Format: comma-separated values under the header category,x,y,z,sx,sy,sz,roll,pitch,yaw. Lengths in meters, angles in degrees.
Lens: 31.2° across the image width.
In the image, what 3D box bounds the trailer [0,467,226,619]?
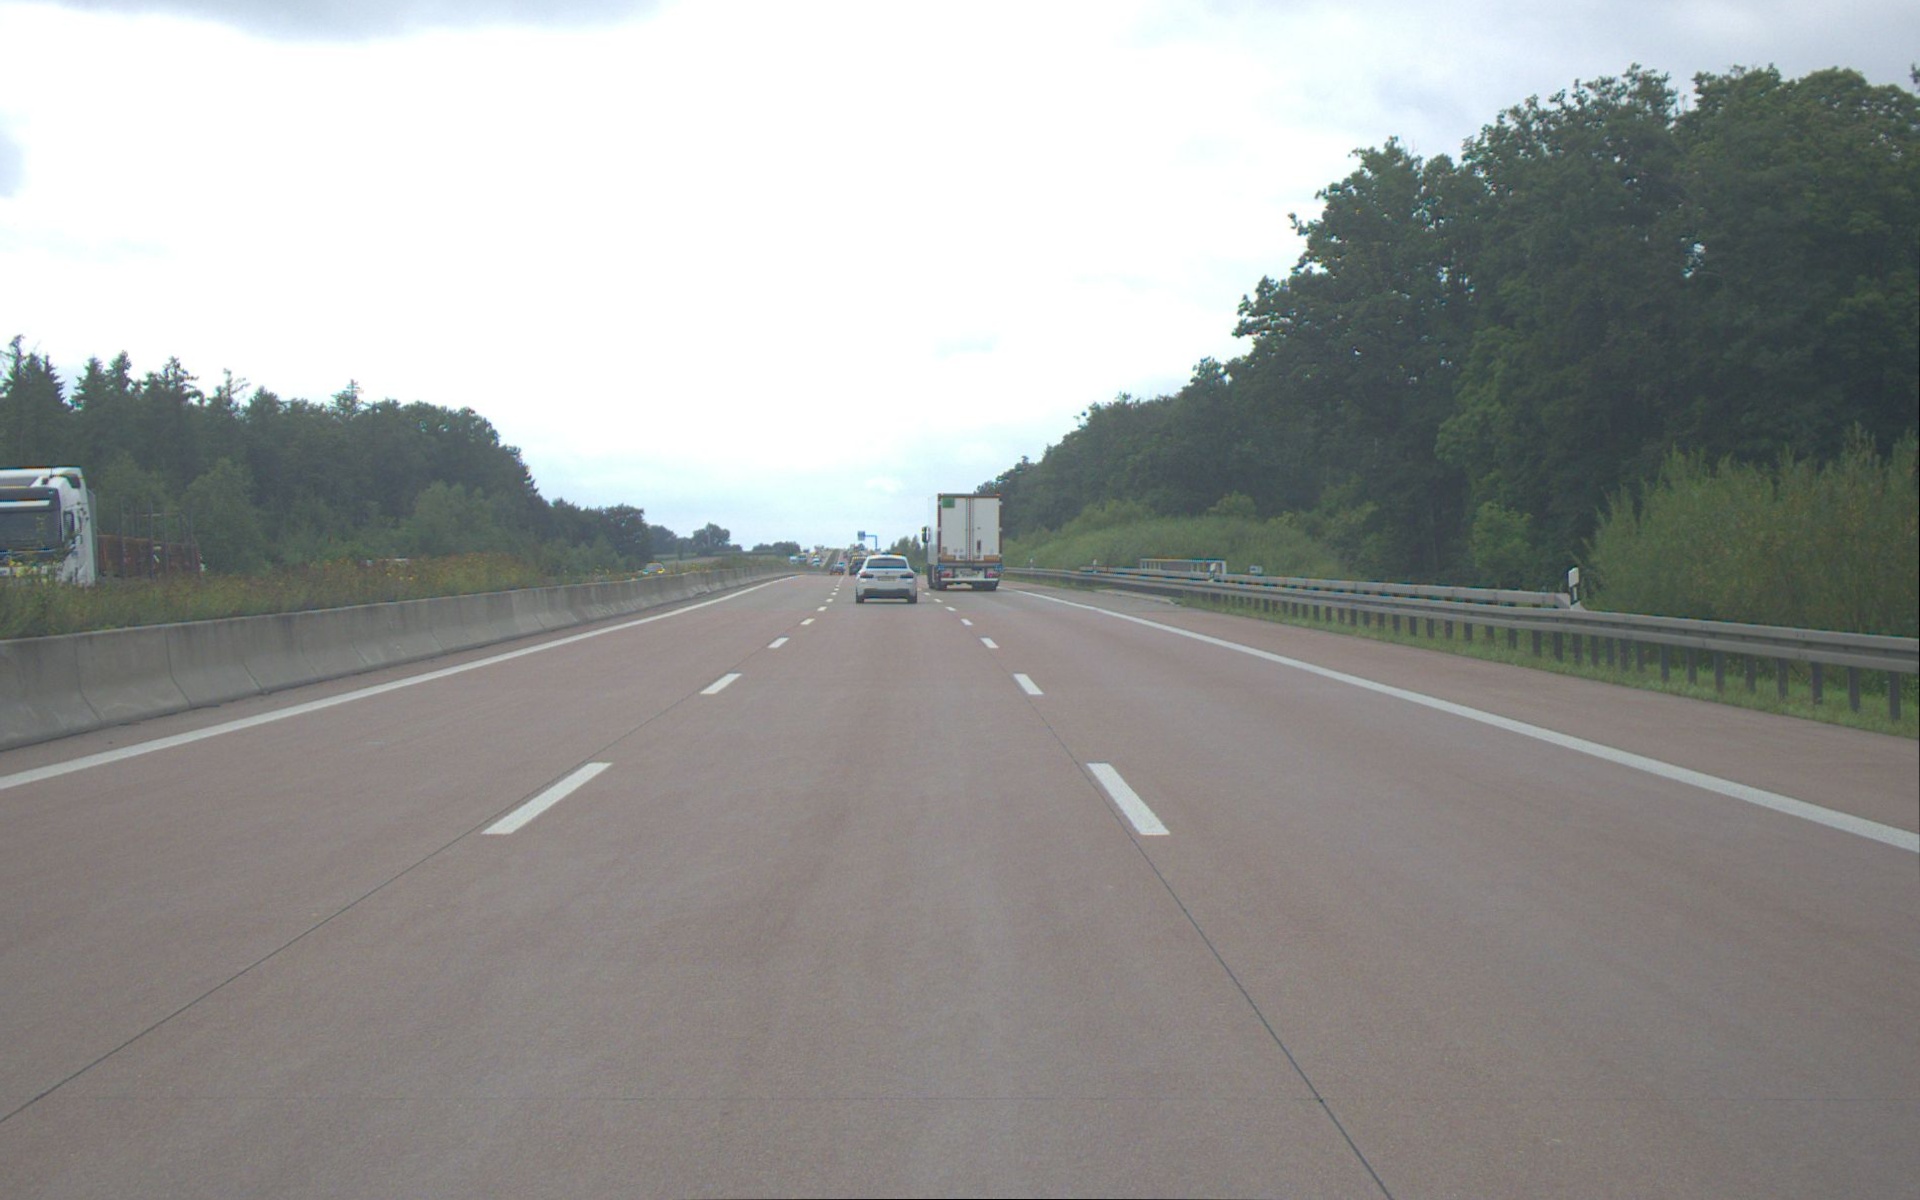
category,x,y,z,sx,sy,sz,roll,pitch,yaw
trailer,-20.884,-1.396,84.629,2.934,3.407,13.271,1,1,-1

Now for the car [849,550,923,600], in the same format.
category,x,y,z,sx,sy,sz,roll,pitch,yaw
car,-2.233,-0.783,105.316,2.163,1.446,4.719,1,1,0

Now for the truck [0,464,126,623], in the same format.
category,x,y,z,sx,sy,sz,roll,pitch,yaw
truck,-20.767,-1.273,76.957,2.934,3.407,5.345,1,1,-1

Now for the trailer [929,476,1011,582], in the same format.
category,x,y,z,sx,sy,sz,roll,pitch,yaw
trailer,0.339,-2.894,144.552,2.921,4.279,13.615,0,0,-2
